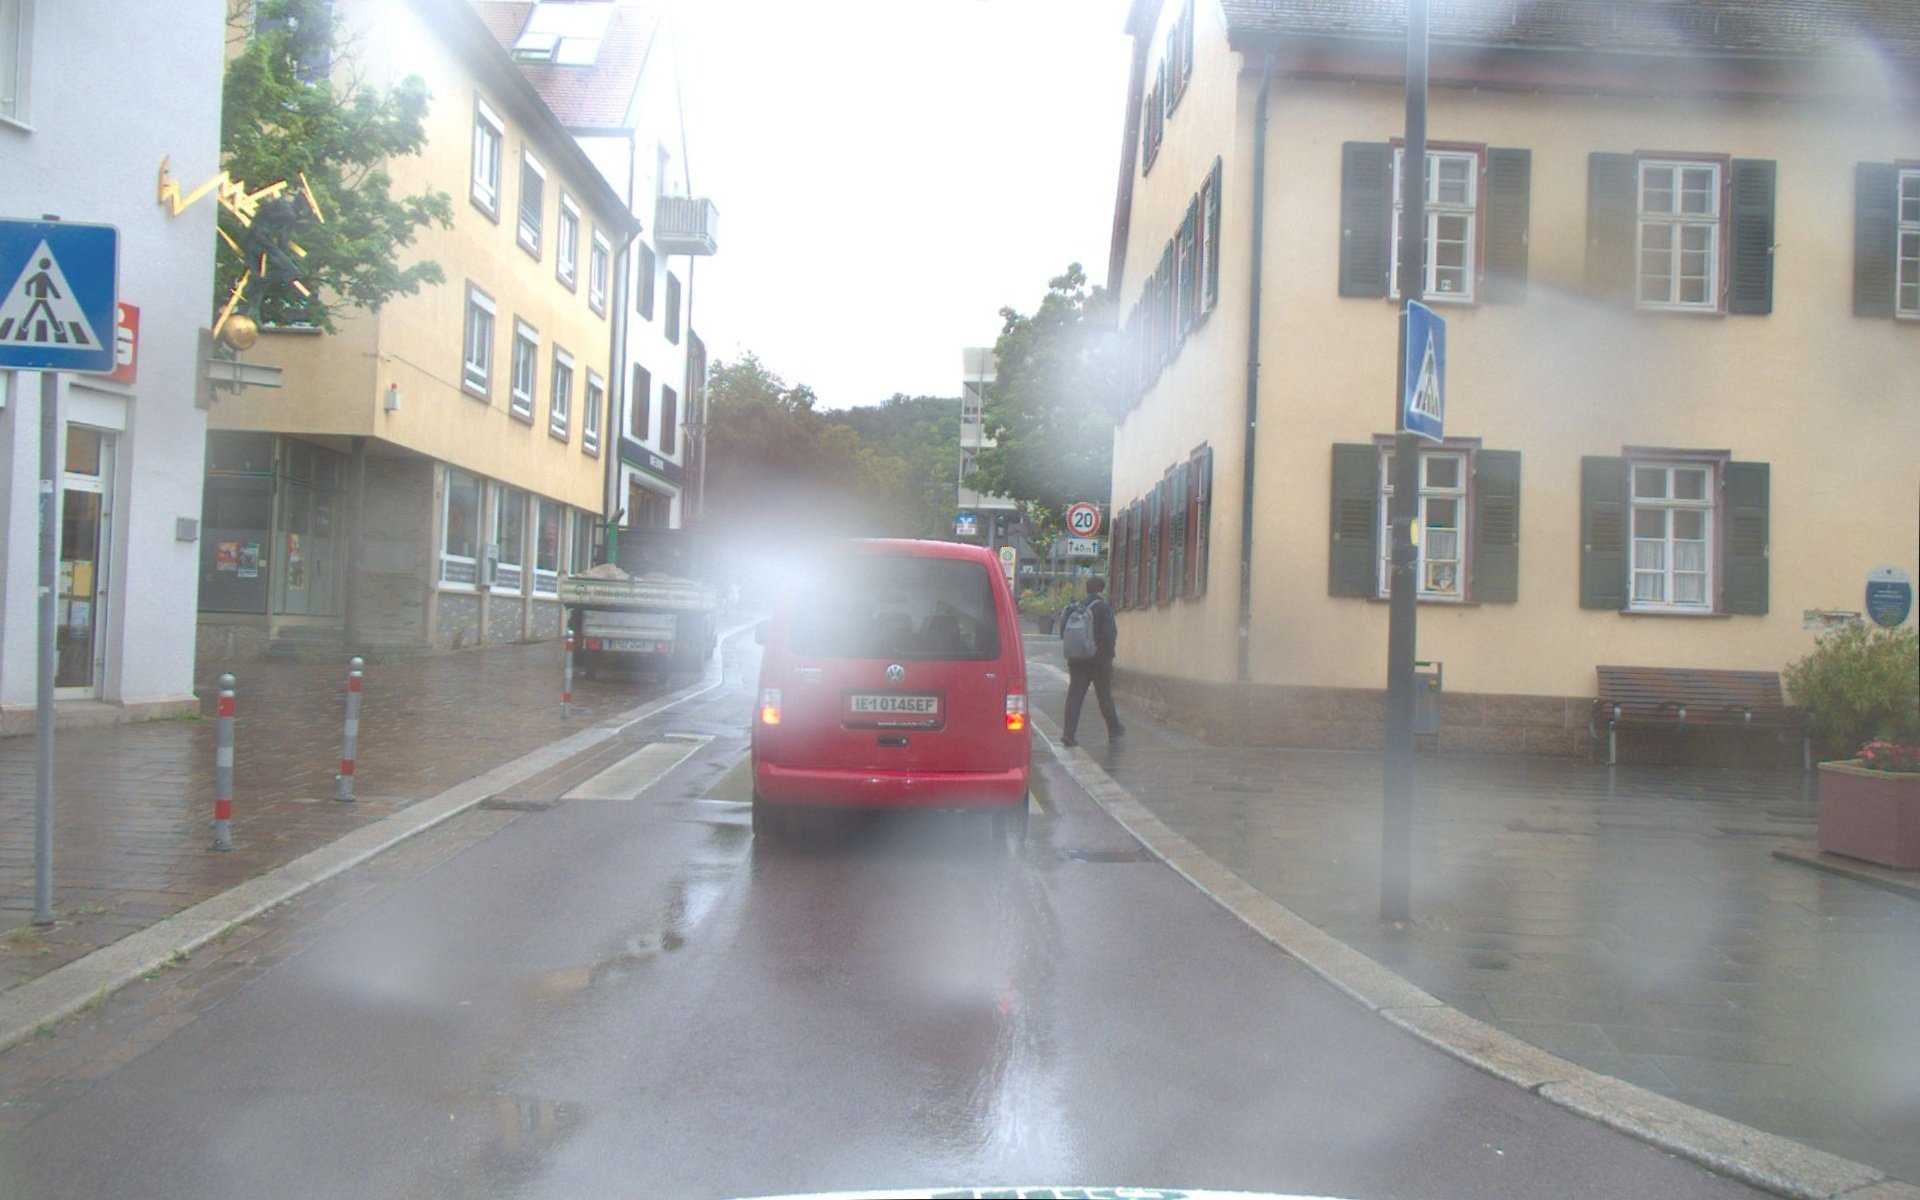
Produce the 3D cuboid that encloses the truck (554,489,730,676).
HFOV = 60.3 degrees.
[{"bbox_3d":[-5.378,-0.332,28.902,2.426,2.843,6.591,1,1,-6],"label":"truck"}]

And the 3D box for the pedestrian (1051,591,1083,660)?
[{"bbox_3d":[2.572,0.608,39.887,0.713,1.645,0.694,1,-1,1],"label":"pedestrian"}]

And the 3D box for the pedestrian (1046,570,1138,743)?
[{"bbox_3d":[1.377,0.567,17.123,0.699,1.722,0.868,2,0,20],"label":"pedestrian"}]

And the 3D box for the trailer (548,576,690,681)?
[{"bbox_3d":[-4.888,0.375,24.075,1.695,1.370,3.157,1,1,-6],"label":"trailer"}]

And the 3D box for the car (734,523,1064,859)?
[{"bbox_3d":[-0.509,0.510,11.336,1.826,1.862,4.181,1,0,-5],"label":"car"}]
